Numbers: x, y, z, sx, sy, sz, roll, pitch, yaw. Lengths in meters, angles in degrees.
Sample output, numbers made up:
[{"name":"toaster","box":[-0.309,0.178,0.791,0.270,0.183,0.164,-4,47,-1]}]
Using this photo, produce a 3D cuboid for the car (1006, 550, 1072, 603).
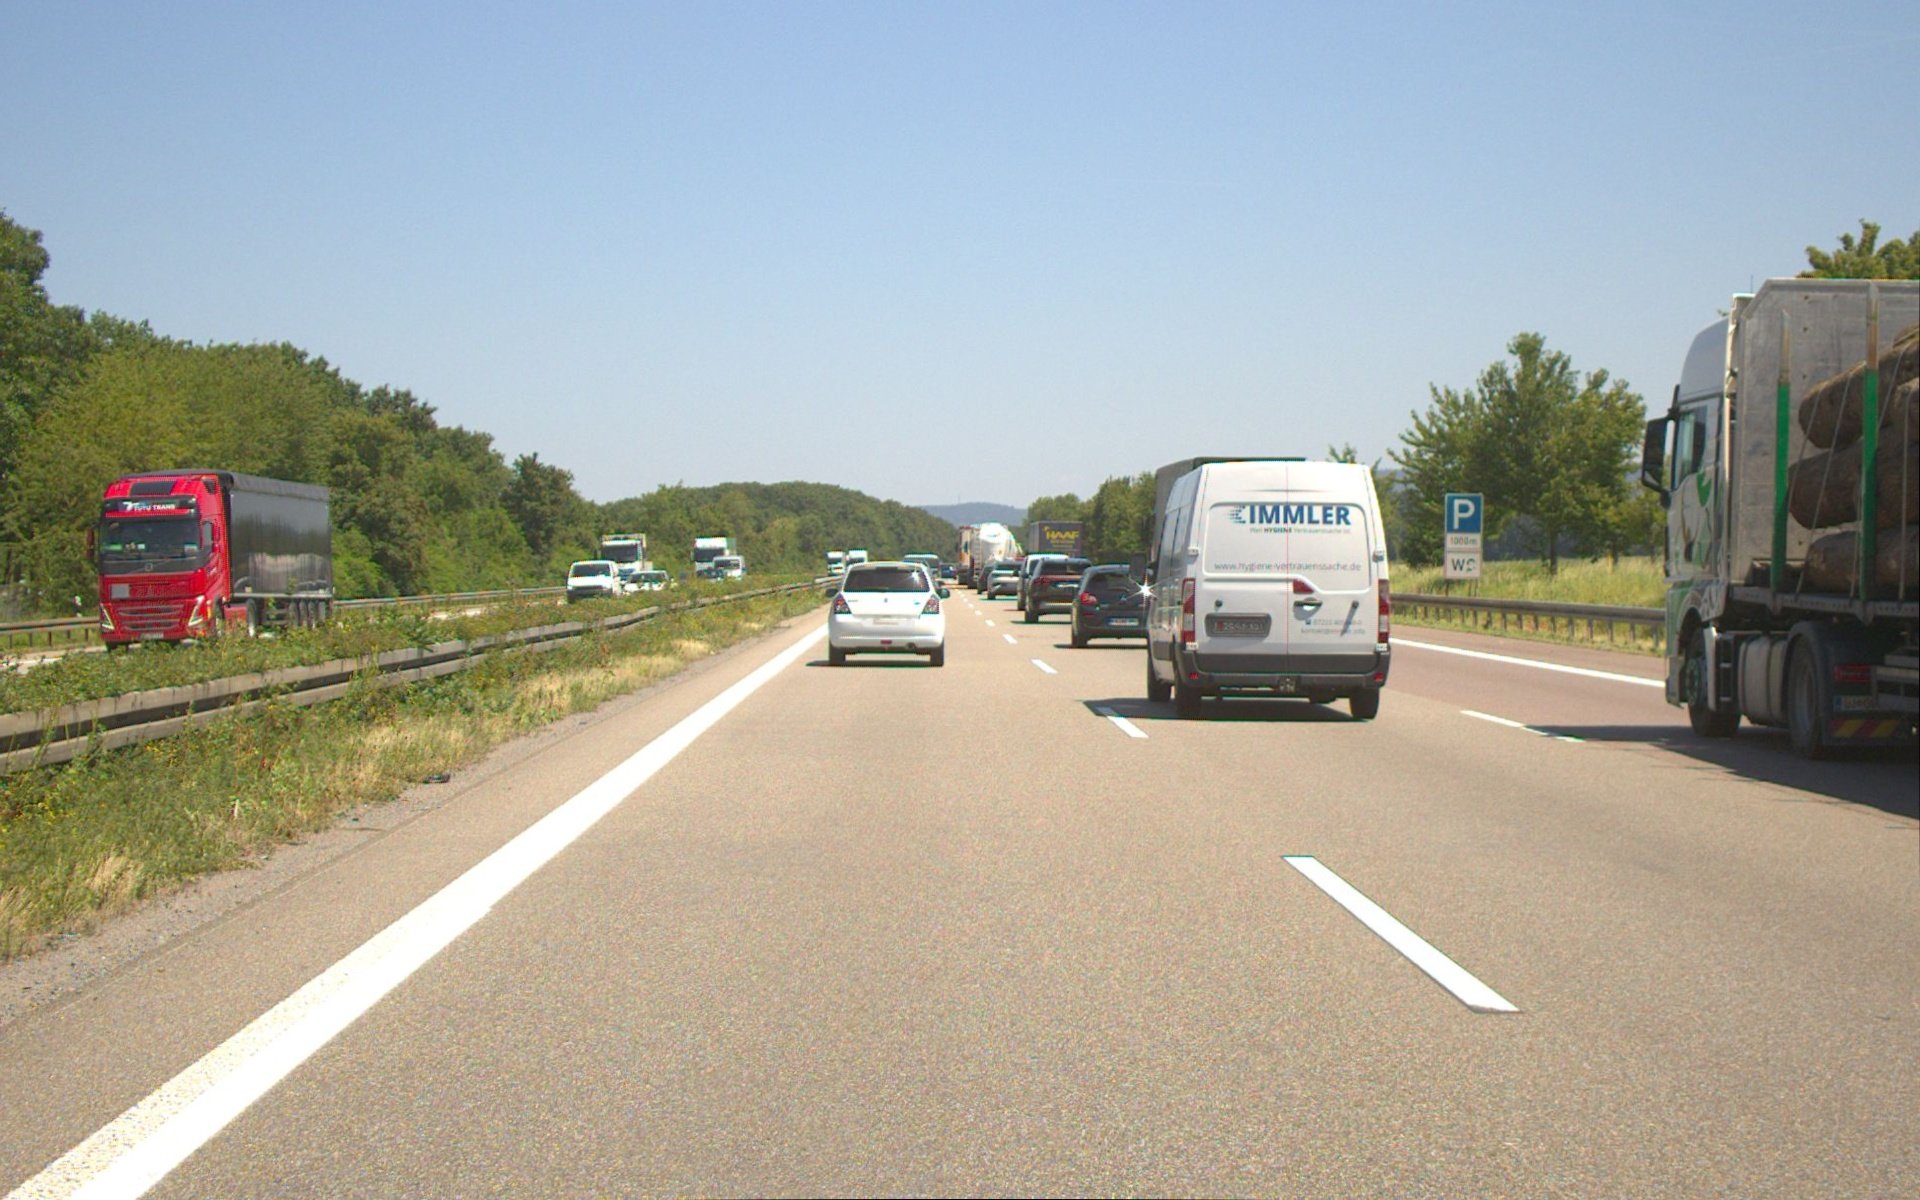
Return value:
[{"name":"car","box":[2.533,-0.772,110.548,1.857,1.646,4.000,1,1,-2]}]

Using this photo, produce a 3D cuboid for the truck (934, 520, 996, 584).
[{"name":"truck","box":[0.264,-3.353,240.935,3.257,4.194,16.845,1,1,-3]}]

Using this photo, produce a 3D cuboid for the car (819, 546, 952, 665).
[{"name":"car","box":[-1.141,0.053,51.084,1.857,1.646,4.000,1,1,-2]}]

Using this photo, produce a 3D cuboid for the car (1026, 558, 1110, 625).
[{"name":"car","box":[2.717,-0.243,87.270,1.857,1.646,4.000,1,1,-2]}]

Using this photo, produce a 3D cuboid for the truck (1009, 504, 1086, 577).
[{"name":"truck","box":[5.266,-3.608,210.746,3.257,4.194,16.845,1,1,-3]}]

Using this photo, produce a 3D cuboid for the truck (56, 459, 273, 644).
[{"name":"truck","box":[-18.141,-1.108,78.834,3.439,3.917,6.221,-2,1,-1]}]

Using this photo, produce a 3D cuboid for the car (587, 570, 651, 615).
[{"name":"car","box":[-12.341,-0.279,124.703,1.920,1.523,4.868,-2,1,-1]}]

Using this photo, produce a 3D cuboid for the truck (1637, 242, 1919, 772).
[{"name":"truck","box":[7.802,-0.734,29.207,2.669,3.981,6.636,1,1,-1]}]

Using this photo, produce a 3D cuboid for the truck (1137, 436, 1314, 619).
[{"name":"truck","box":[6.612,-1.781,88.411,3.079,4.194,16.844,1,1,0]}]

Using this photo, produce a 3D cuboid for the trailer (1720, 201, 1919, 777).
[{"name":"trailer","box":[7.908,-0.736,22.443,2.653,3.945,13.637,1,1,-1]}]

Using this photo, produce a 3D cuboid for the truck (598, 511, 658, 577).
[{"name":"truck","box":[-19.611,-3.296,203.348,2.605,3.748,9.866,-2,1,-1]}]

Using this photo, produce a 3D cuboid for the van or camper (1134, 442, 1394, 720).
[{"name":"van or camper","box":[3.019,-0.211,35.416,2.058,2.613,5.985,0,1,-1]}]

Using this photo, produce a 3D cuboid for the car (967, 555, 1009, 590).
[{"name":"car","box":[1.338,-1.338,167.209,1.857,1.646,4.000,1,1,-2]}]

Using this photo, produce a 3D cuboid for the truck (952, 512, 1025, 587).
[{"name":"truck","box":[1.630,-3.008,206.173,3.257,4.194,16.845,1,1,-3]}]

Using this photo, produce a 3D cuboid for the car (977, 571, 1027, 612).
[{"name":"car","box":[1.714,-0.366,142.329,1.857,1.646,4.000,1,1,-2]}]

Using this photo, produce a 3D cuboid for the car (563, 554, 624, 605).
[{"name":"car","box":[-14.600,-0.839,137.196,1.995,1.906,5.212,-2,1,-2]}]

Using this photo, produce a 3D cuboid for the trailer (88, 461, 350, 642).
[{"name":"trailer","box":[-18.230,-1.194,85.814,3.447,3.997,14.204,-2,1,-1]}]

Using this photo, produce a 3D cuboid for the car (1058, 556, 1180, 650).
[{"name":"car","box":[2.856,0.031,62.486,1.857,1.646,4.000,1,1,-2]}]
